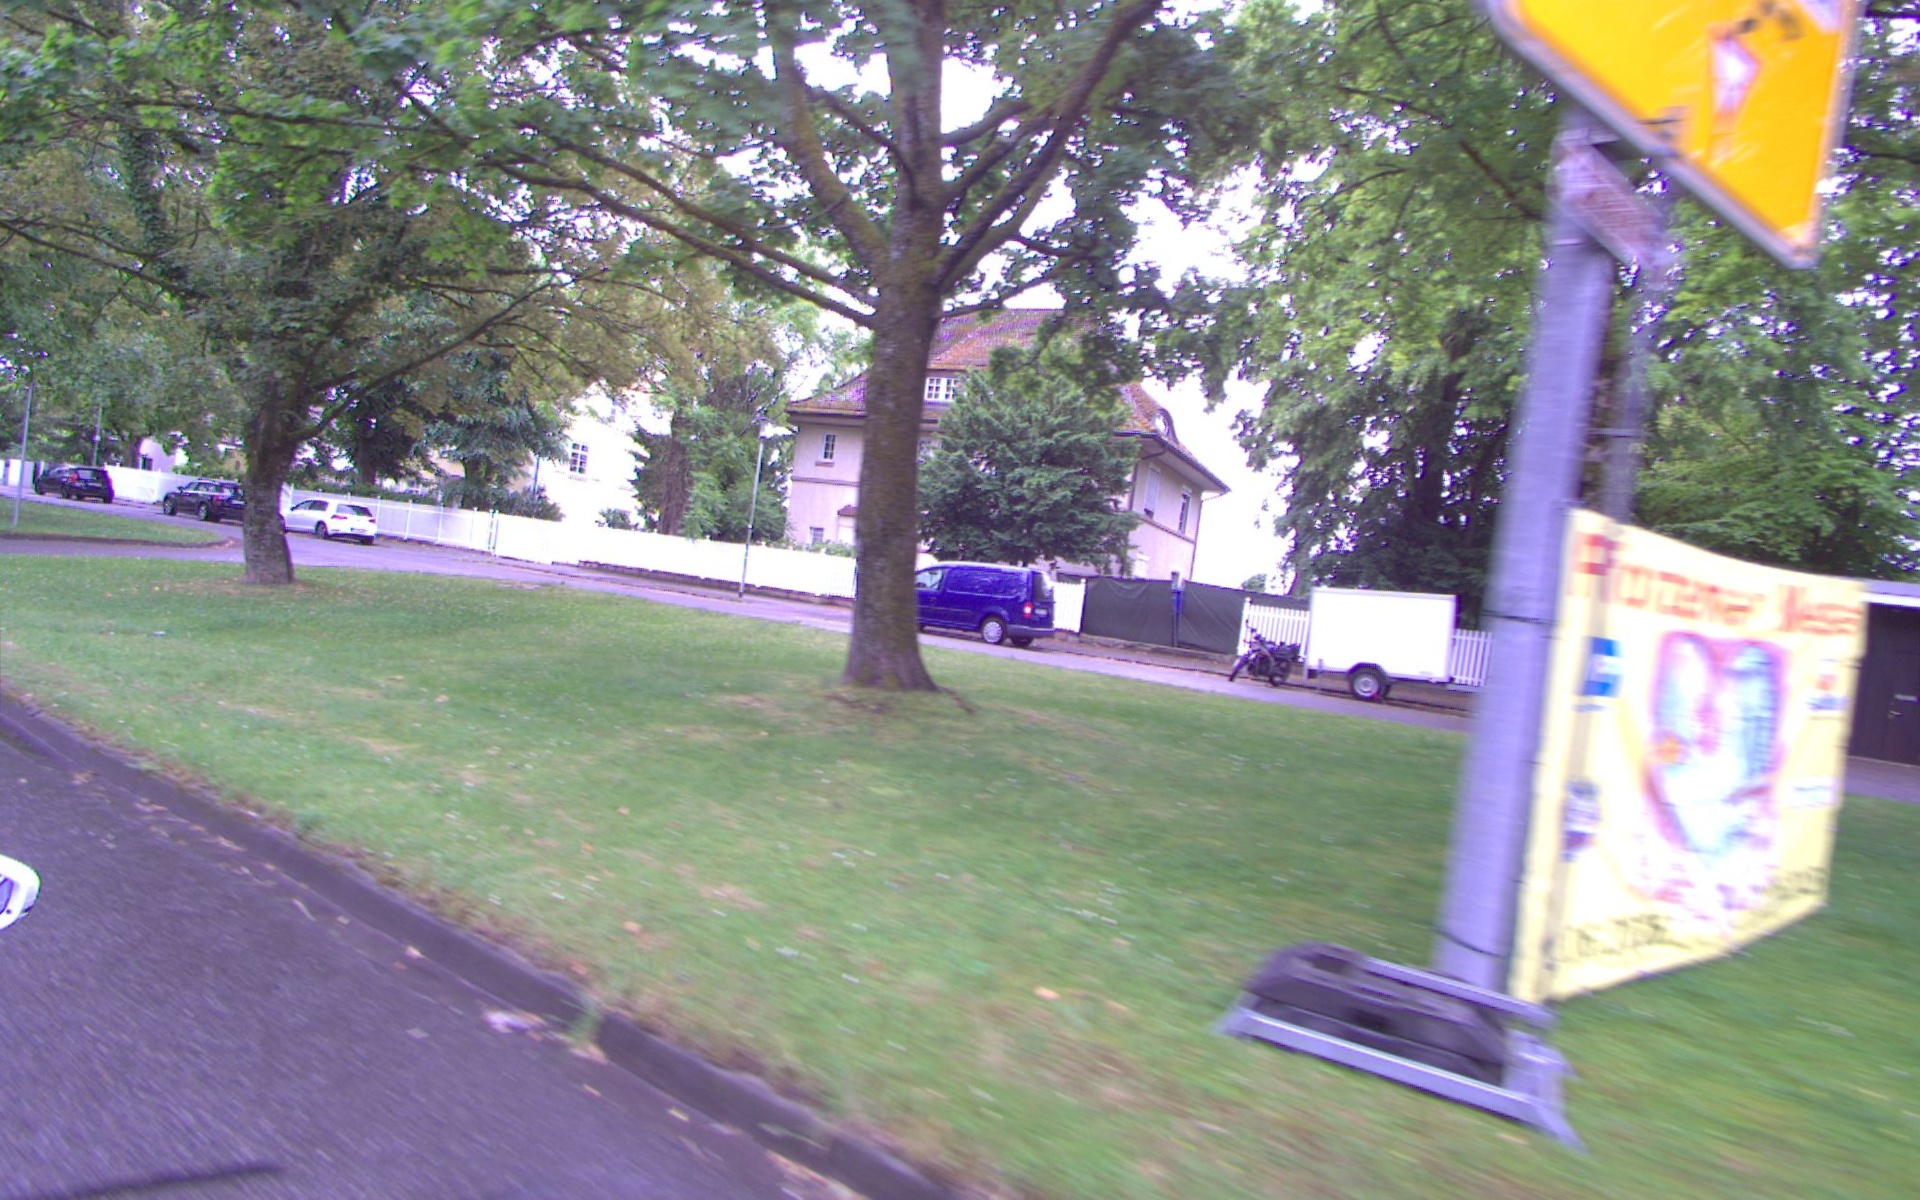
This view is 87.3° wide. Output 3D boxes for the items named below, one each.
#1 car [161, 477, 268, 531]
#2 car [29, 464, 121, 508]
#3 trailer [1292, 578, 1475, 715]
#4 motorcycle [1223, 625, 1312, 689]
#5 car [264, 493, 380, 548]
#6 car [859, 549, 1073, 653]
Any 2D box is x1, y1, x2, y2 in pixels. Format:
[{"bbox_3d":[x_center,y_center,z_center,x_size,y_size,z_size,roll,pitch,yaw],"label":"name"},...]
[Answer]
[{"bbox_3d":[-29.177,-3.758,39.347,4.041,1.550,1.803,9,3,29],"label":"car"},{"bbox_3d":[-39.570,-5.111,44.984,4.041,1.430,1.803,9,3,29],"label":"car"},{"bbox_3d":[8.099,0.857,19.275,2.898,2.182,1.438,7,1,26],"label":"trailer"},{"bbox_3d":[6.201,1.160,20.261,1.876,1.107,0.651,7,2,-39],"label":"motorcycle"},{"bbox_3d":[-22.802,-2.840,35.919,3.939,1.428,1.618,8,3,26],"label":"car"},{"bbox_3d":[0.106,-0.010,23.904,4.568,1.833,1.943,8,3,29],"label":"car"}]
